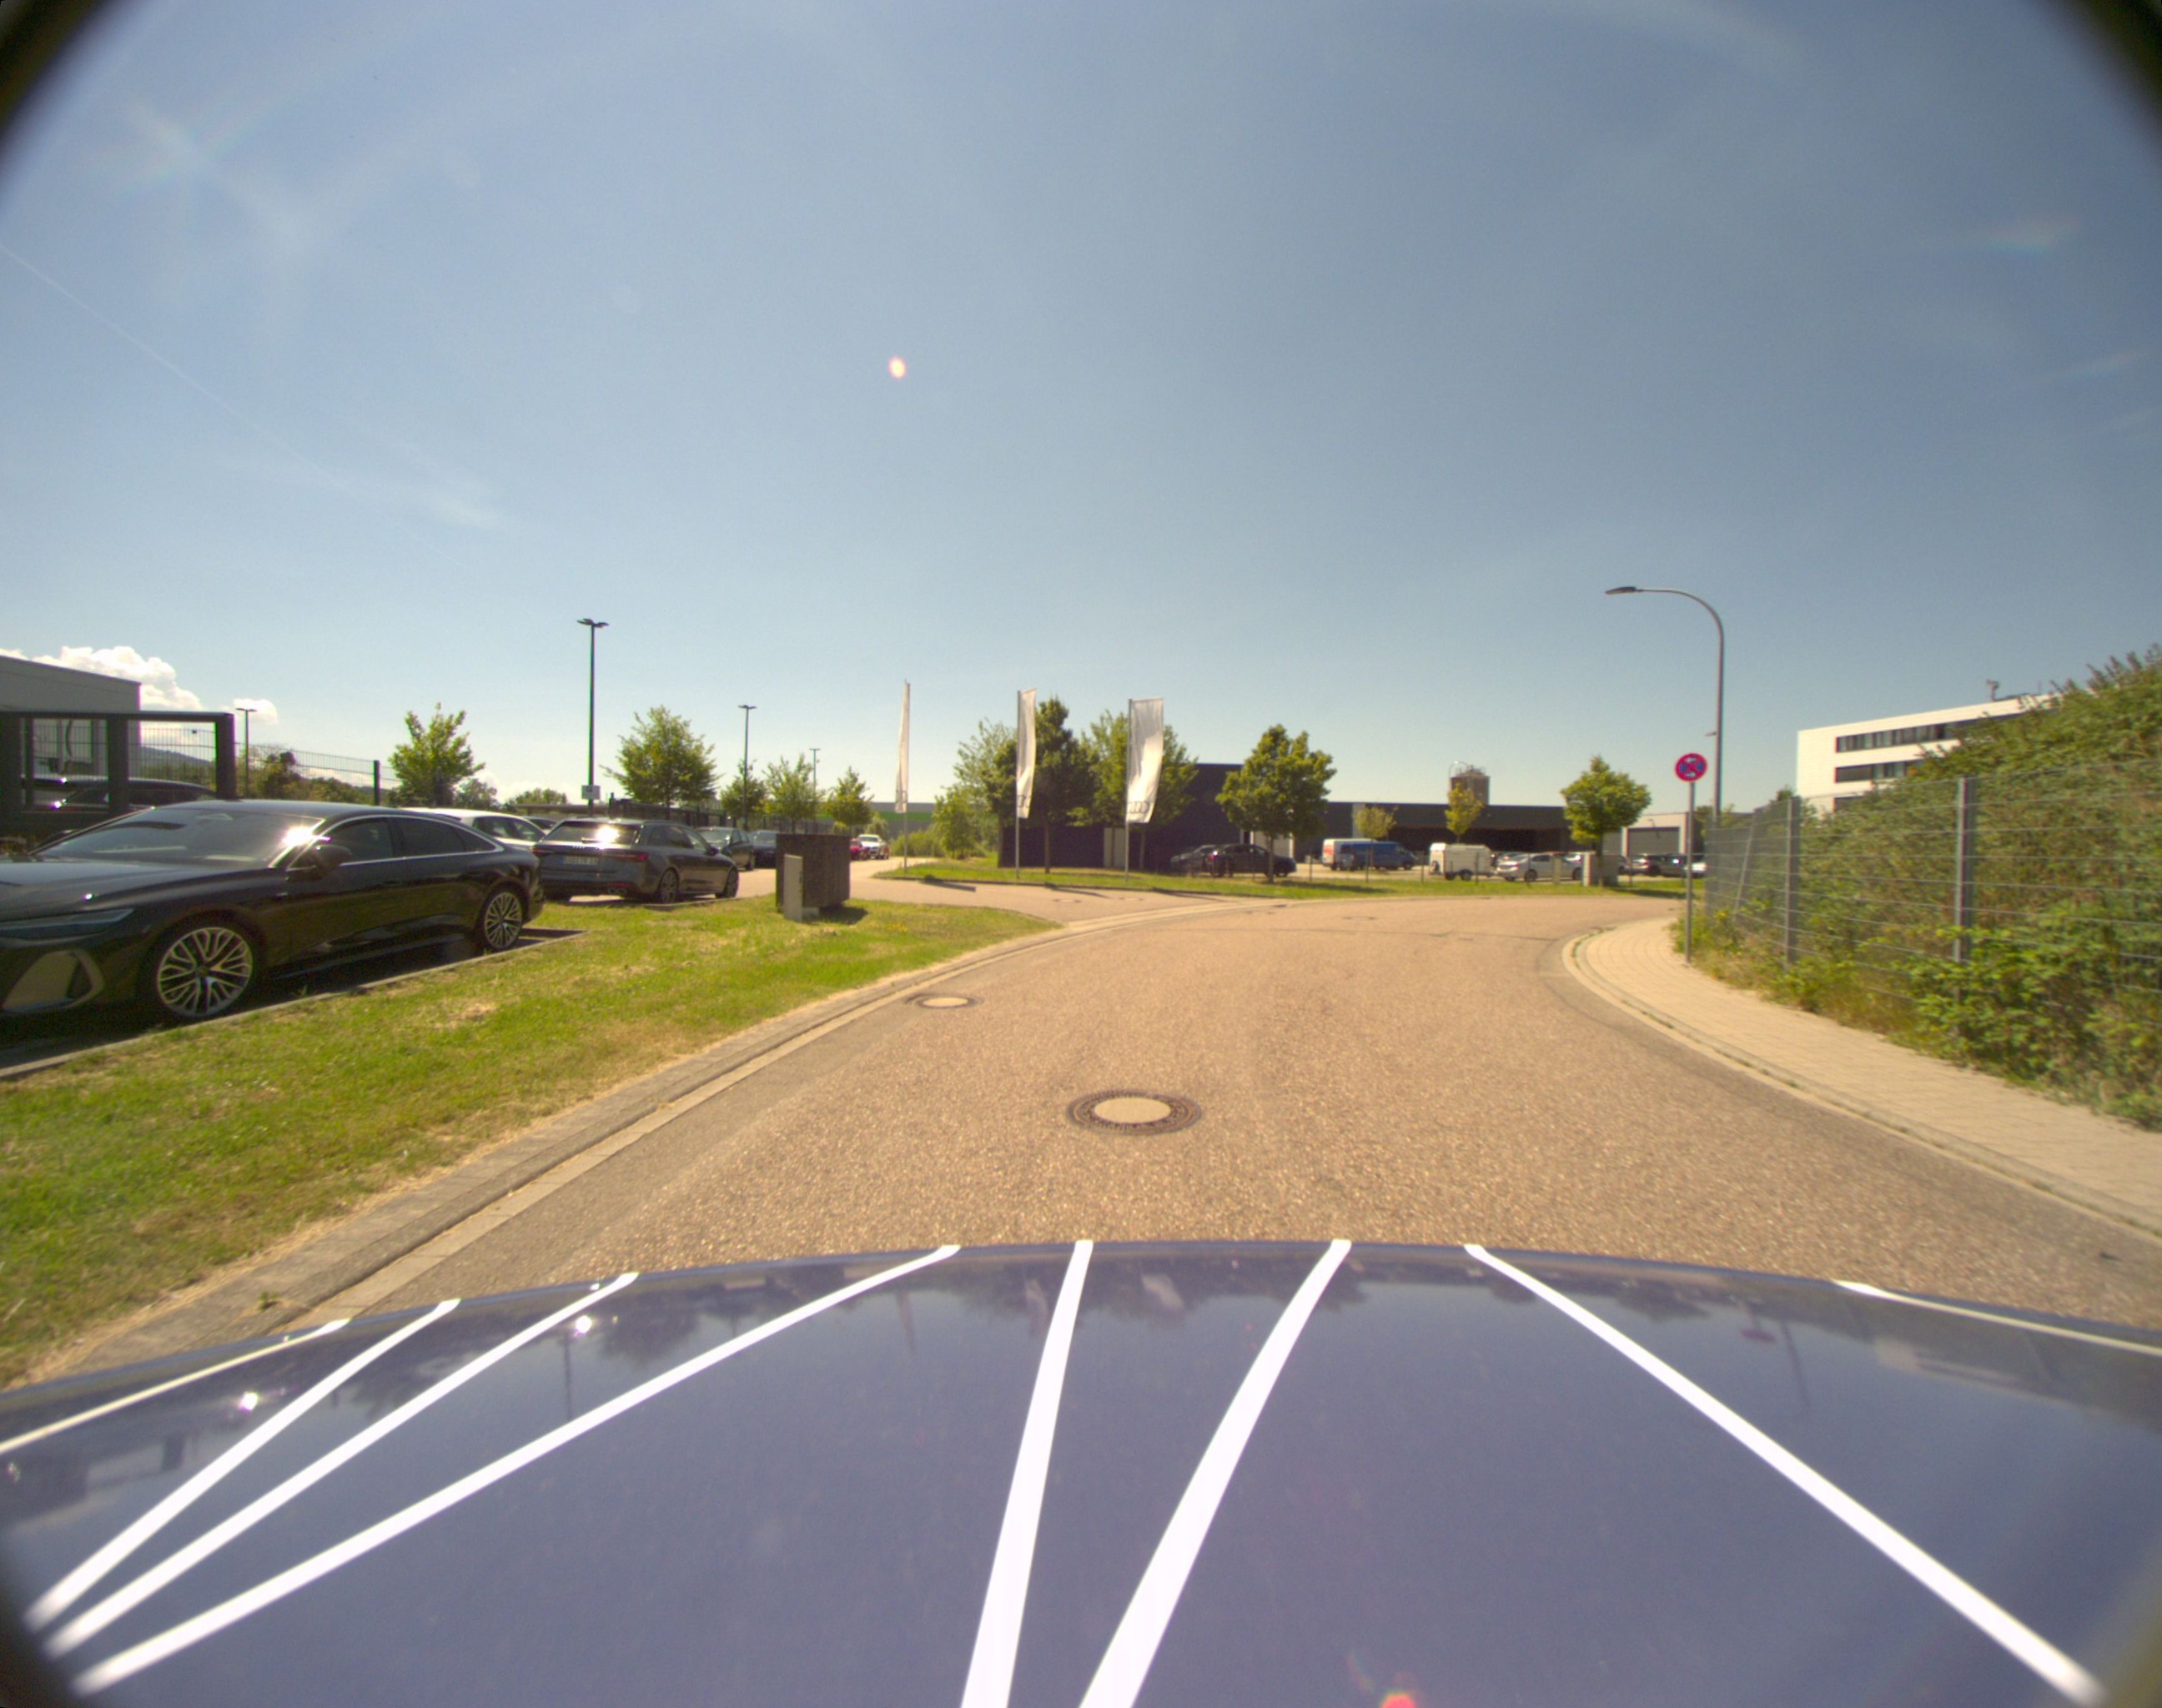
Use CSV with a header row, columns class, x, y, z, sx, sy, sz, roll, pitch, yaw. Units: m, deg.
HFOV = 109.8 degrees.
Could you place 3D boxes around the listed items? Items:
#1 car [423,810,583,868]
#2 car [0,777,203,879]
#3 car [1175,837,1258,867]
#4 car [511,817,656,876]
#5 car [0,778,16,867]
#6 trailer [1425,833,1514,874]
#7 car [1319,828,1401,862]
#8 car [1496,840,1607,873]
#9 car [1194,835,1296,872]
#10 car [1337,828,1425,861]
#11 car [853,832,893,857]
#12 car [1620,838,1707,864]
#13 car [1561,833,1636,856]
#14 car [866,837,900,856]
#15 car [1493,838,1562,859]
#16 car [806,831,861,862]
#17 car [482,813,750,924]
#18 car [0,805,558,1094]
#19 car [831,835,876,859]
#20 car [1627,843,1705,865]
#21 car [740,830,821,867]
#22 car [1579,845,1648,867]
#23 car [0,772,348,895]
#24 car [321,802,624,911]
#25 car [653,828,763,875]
class,x,y,z,sx,sy,sz,roll,pitch,yaw
car,-18.099,-0.468,24.136,1.967,1.620,4.622,2,1,-7
car,-18.145,-0.450,12.671,1.967,1.620,4.622,2,1,-7
car,7.578,-0.119,42.659,4.172,1.558,1.779,1,1,-7
car,-15.454,-0.247,23.957,1.967,1.620,4.622,2,1,-7
car,-20.461,-0.567,11.799,1.967,1.620,4.374,2,1,-7
trailer,20.430,-0.026,40.026,3.737,1.987,1.854,1,0,-5
car,22.094,-0.719,60.222,5.678,2.443,2.195,-3,1,-7
car,24.920,0.109,40.313,4.854,1.490,1.854,-3,1,-5
car,7.599,-0.045,35.422,4.282,1.592,1.779,-1,2,-7
car,22.706,-0.674,57.564,5.832,2.211,2.143,-2,-1,-7
car,-14.236,-0.673,52.209,1.824,1.637,4.393,1,1,-4
car,35.235,-0.175,46.005,3.923,1.490,1.854,0,1,-4
car,35.096,-0.630,51.586,3.923,1.490,1.854,0,1,-4
car,-15.388,-0.614,59.374,1.824,1.433,4.110,1,1,-4
car,34.513,-0.427,58.802,4.251,1.622,1.967,0,1,-4
car,-13.254,-0.438,40.937,1.780,1.558,4.403,1,1,-4
car,-7.370,0.157,12.781,1.967,1.459,4.940,1,1,-7
car,-6.624,0.413,6.066,1.885,1.446,5.020,2,1,-7
car,-13.958,-0.477,46.813,1.780,1.349,4.169,1,1,-4
car,39.595,-0.019,51.499,3.923,1.490,1.854,0,1,-4
car,-12.361,-0.255,31.526,1.780,1.393,4.570,1,1,-4
car,39.870,0.148,56.923,3.923,1.490,1.854,1,1,-4
car,-14.921,-0.322,12.319,1.967,1.620,4.622,2,1,-7
car,-10.222,0.006,13.404,1.825,1.520,4.941,2,1,-7
car,-12.030,-0.119,24.837,1.780,1.342,4.143,1,1,-4
